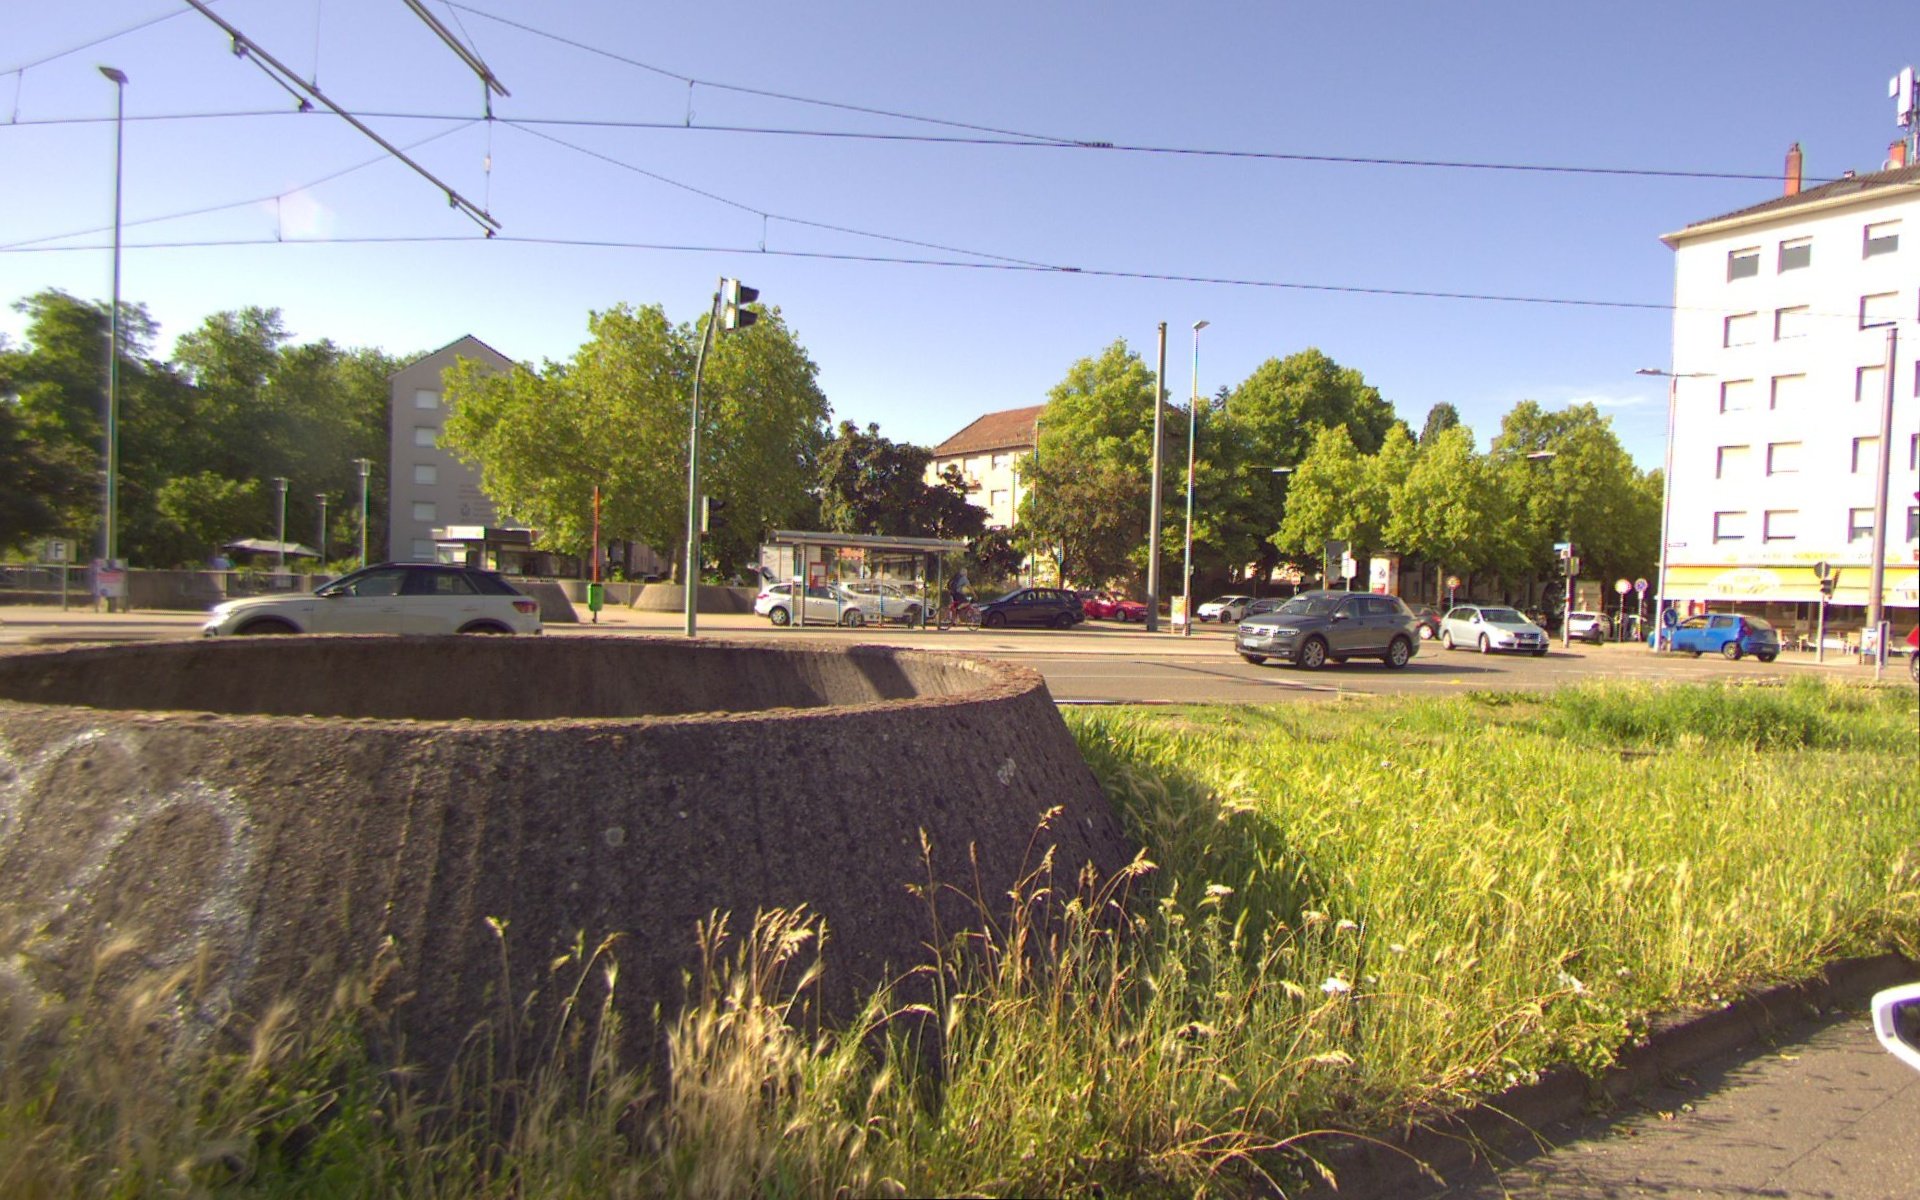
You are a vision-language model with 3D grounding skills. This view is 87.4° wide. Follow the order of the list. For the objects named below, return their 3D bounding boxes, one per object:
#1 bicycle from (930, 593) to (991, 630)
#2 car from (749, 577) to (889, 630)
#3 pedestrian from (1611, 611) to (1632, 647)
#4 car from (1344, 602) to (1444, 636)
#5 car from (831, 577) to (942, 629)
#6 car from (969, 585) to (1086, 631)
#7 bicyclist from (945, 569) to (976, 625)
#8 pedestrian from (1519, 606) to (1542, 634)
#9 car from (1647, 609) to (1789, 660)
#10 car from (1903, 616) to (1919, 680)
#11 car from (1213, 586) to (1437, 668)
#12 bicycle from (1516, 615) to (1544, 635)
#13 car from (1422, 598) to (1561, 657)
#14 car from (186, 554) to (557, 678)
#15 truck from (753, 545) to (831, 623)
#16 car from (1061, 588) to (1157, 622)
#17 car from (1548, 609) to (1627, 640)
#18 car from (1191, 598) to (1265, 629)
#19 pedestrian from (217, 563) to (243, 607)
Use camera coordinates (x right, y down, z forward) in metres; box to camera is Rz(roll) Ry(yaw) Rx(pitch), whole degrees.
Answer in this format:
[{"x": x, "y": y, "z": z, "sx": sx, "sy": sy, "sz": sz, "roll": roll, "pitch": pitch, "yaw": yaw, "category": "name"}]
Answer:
[{"x": 0.016, "y": 0.325, "z": 28.929, "sx": 1.633, "sy": 1.015, "sz": 0.611, "roll": 1, "pitch": 2, "yaw": -21, "category": "bicycle"}, {"x": -4.860, "y": 0.091, "z": 34.887, "sx": 4.457, "sy": 1.565, "sz": 1.873, "roll": 2, "pitch": 4, "yaw": 6, "category": "car"}, {"x": 31.076, "y": 1.352, "z": 47.200, "sx": 0.780, "sy": 1.643, "sz": 0.827, "roll": 2, "pitch": 1, "yaw": 33, "category": "pedestrian"}, {"x": 18.855, "y": 0.805, "z": 43.706, "sx": 1.683, "sy": 1.270, "sz": 3.581, "roll": 1, "pitch": 1, "yaw": -42, "category": "car"}, {"x": -2.754, "y": 0.091, "z": 37.398, "sx": 3.928, "sy": 1.741, "sz": 1.760, "roll": 1, "pitch": 4, "yaw": -10, "category": "car"}, {"x": 2.491, "y": 0.297, "z": 37.279, "sx": 3.942, "sy": 1.509, "sz": 1.757, "roll": 1, "pitch": 4, "yaw": -16, "category": "car"}, {"x": 0.010, "y": -0.091, "z": 28.901, "sx": 0.666, "sy": 1.551, "sz": 0.611, "roll": 1, "pitch": 3, "yaw": -20, "category": "bicyclist"}, {"x": 30.200, "y": 1.042, "z": 53.144, "sx": 0.932, "sy": 1.447, "sz": 0.766, "roll": 1, "pitch": 1, "yaw": -44, "category": "pedestrian"}, {"x": 24.991, "y": 1.119, "z": 33.230, "sx": 1.626, "sy": 1.457, "sz": 3.380, "roll": 2, "pitch": 1, "yaw": -20, "category": "car"}, {"x": 22.960, "y": 1.174, "z": 22.093, "sx": 1.731, "sy": 1.506, "sz": 4.291, "roll": 2, "pitch": 1, "yaw": 22, "category": "car"}, {"x": 8.007, "y": 0.598, "z": 21.982, "sx": 4.657, "sy": 1.635, "sz": 1.748, "roll": 2, "pitch": 1, "yaw": -24, "category": "car"}, {"x": 30.166, "y": 1.330, "z": 53.134, "sx": 1.844, "sy": 0.964, "sz": 0.775, "roll": 2, "pitch": 2, "yaw": -44, "category": "bicycle"}, {"x": 16.489, "y": 0.799, "z": 31.485, "sx": 1.700, "sy": 1.461, "sz": 4.881, "roll": 3, "pitch": 2, "yaw": 0, "category": "car"}, {"x": -8.226, "y": 0.242, "z": 14.548, "sx": 4.327, "sy": 1.583, "sz": 1.987, "roll": 2, "pitch": 1, "yaw": -25, "category": "car"}, {"x": -6.940, "y": -0.685, "z": 41.956, "sx": 1.960, "sy": 3.035, "sz": 4.830, "roll": 2, "pitch": 1, "yaw": 5, "category": "truck"}, {"x": 7.362, "y": 0.222, "z": 49.803, "sx": 4.477, "sy": 1.509, "sz": 1.746, "roll": 3, "pitch": 1, "yaw": 42, "category": "car"}, {"x": 30.519, "y": 1.193, "z": 48.810, "sx": 3.964, "sy": 1.328, "sz": 1.978, "roll": 2, "pitch": 1, "yaw": -38, "category": "car"}, {"x": 15.208, "y": 0.751, "z": 56.930, "sx": 4.184, "sy": 1.639, "sz": 1.748, "roll": 1, "pitch": 2, "yaw": -35, "category": "car"}, {"x": -31.424, "y": -0.660, "z": 43.240, "sx": 0.715, "sy": 1.854, "sz": 0.557, "roll": 2, "pitch": 1, "yaw": -16, "category": "pedestrian"}]
